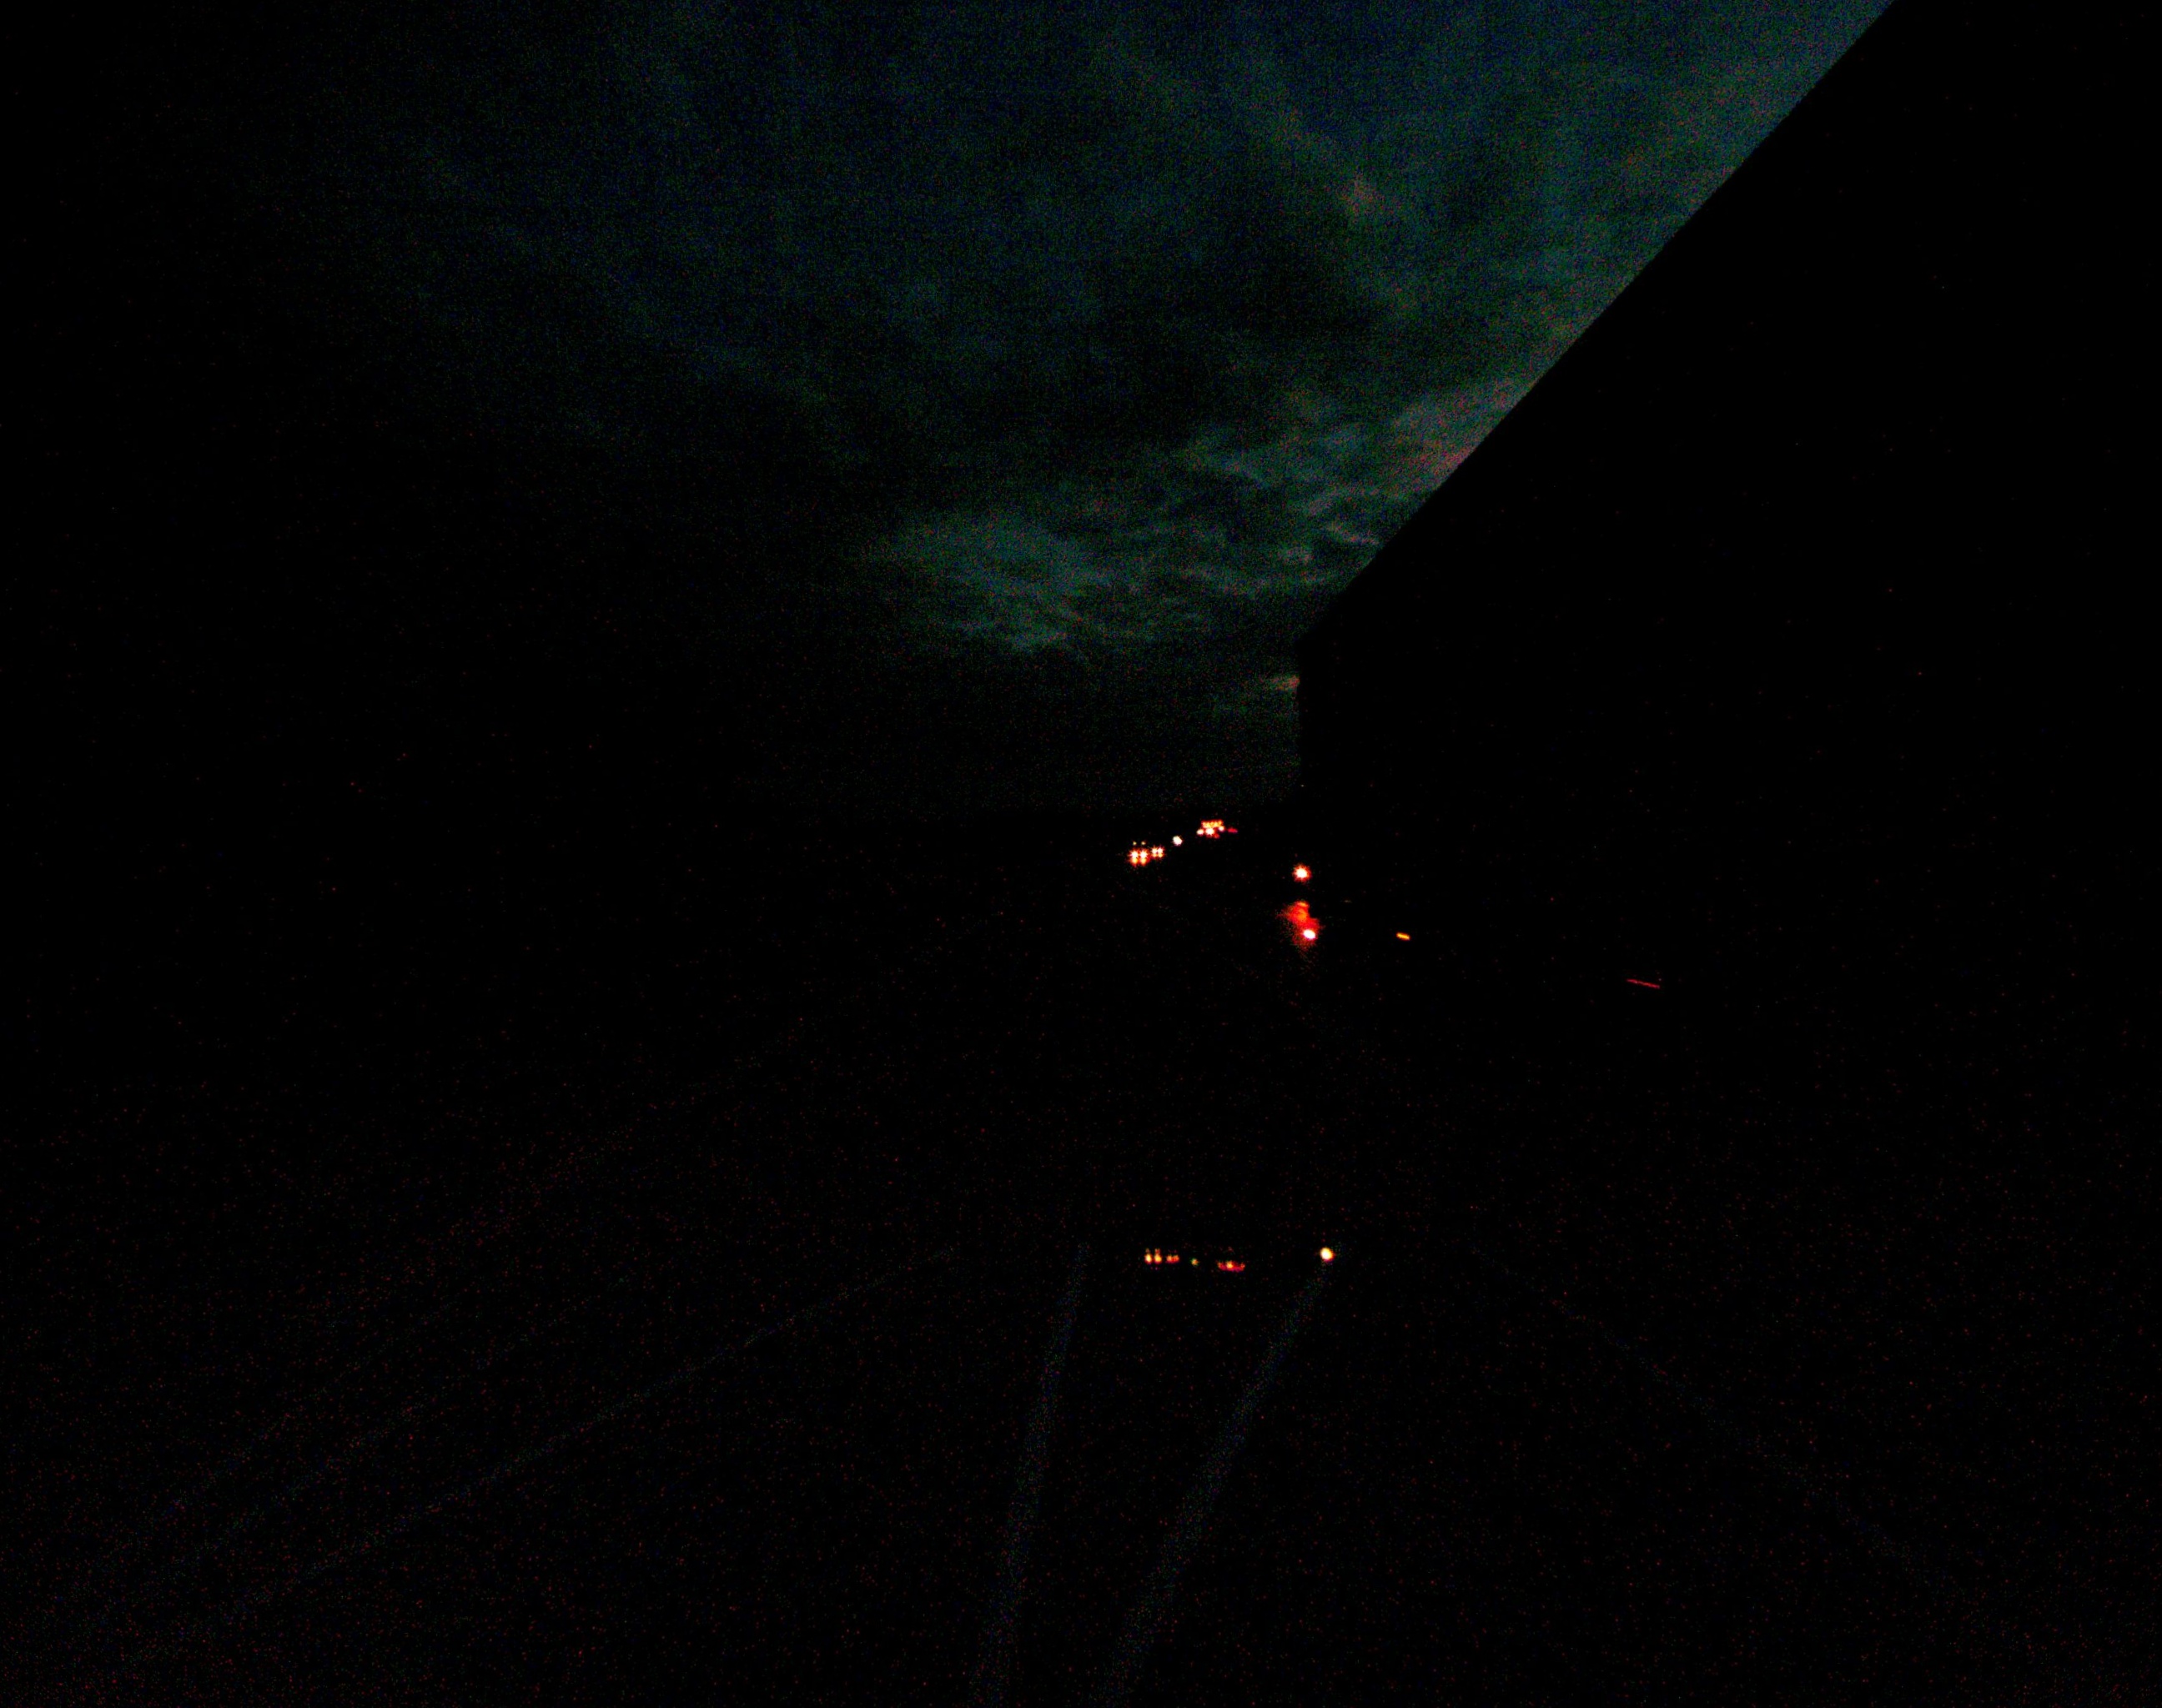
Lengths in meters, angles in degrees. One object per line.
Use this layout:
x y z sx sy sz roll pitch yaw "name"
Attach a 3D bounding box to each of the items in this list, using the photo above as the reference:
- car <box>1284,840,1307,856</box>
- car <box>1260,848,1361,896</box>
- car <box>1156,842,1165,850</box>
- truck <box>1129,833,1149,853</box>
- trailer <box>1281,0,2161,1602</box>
27.478 -0.746 97.322 1.998 2.002 4.001 -1 0 3 "car"
8.088 0.584 27.291 1.999 1.489 4.547 -2 0 -3 "car"
21.952 -2.226 211.156 1.999 2.002 3.999 -1 1 -1 "car"
13.081 -2.510 172.506 3.353 4.293 11.323 -1 1 0 "truck"
3.681 -0.360 1.481 2.781 3.892 14.818 -2 0 1 "trailer"
